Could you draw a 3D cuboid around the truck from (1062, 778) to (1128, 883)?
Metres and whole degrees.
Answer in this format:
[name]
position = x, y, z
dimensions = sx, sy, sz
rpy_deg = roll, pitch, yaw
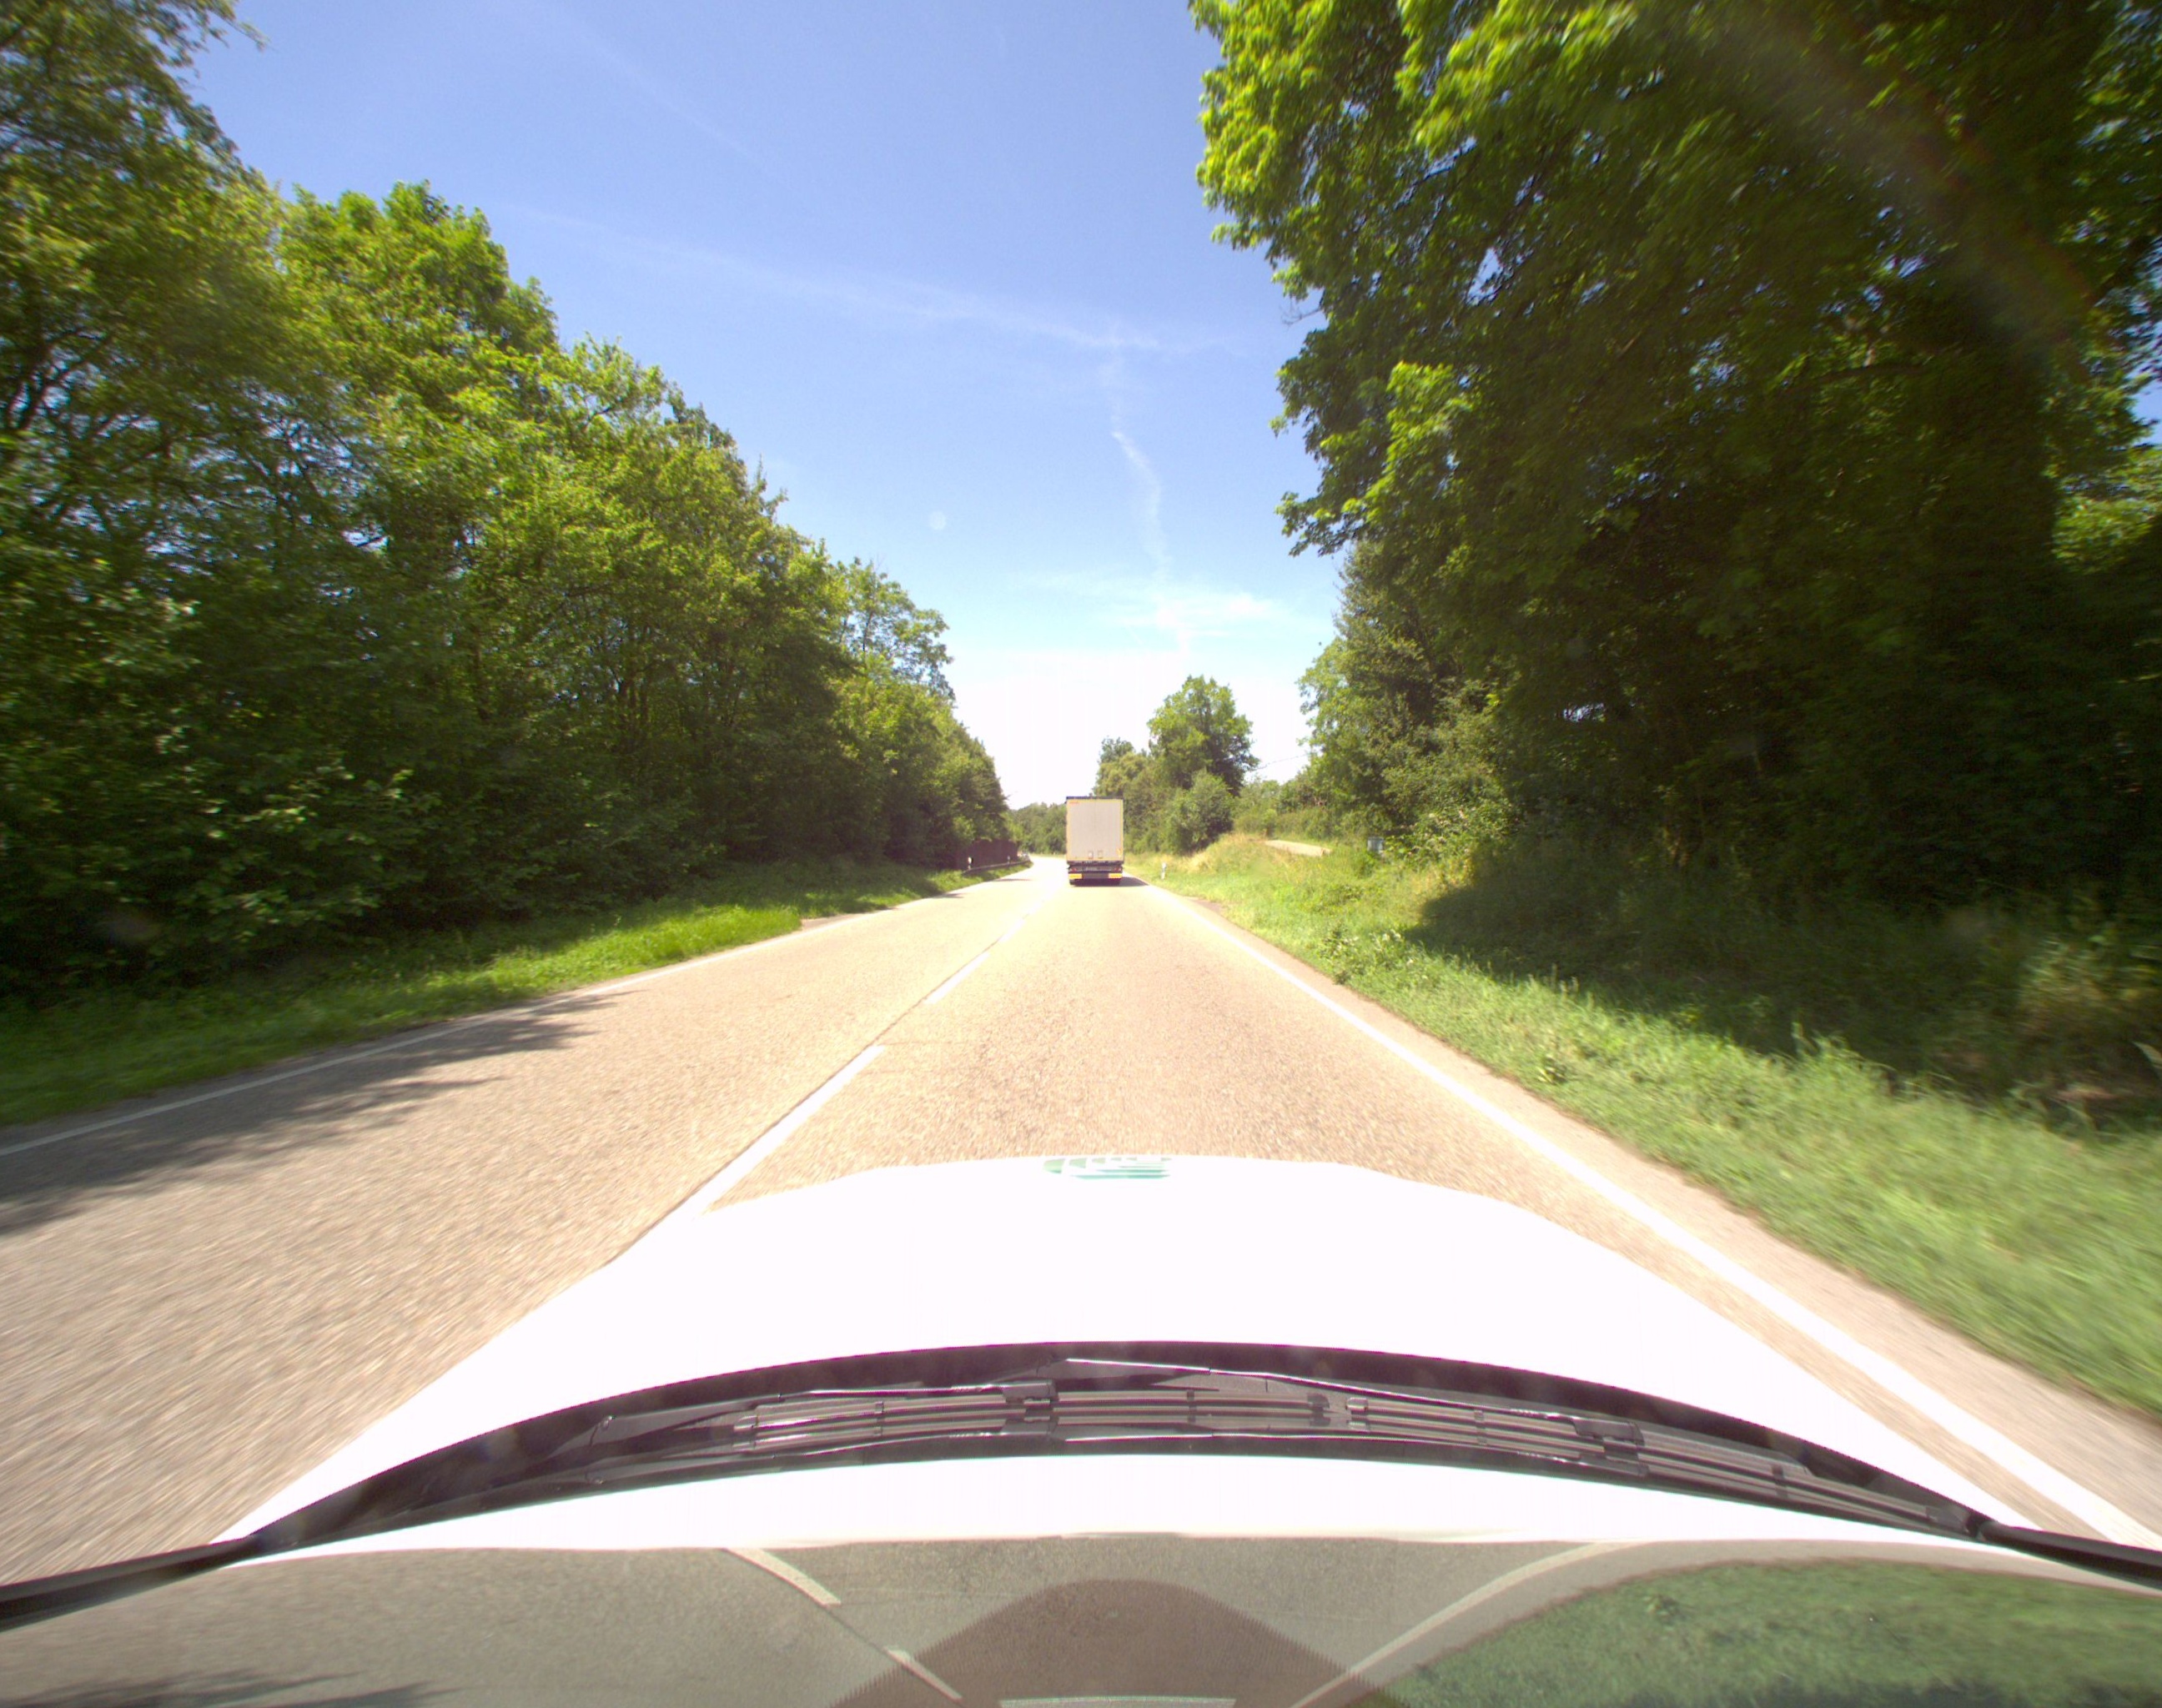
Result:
[truck]
position = 0.792, -0.986, 38.903
dimensions = 2.810, 4.604, 6.671
rpy_deg = 0, -1, 3

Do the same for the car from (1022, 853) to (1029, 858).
[car]
position = -15.026, 0.377, 222.003
dimensions = 1.616, 1.491, 3.607
rpy_deg = -1, 0, -8
